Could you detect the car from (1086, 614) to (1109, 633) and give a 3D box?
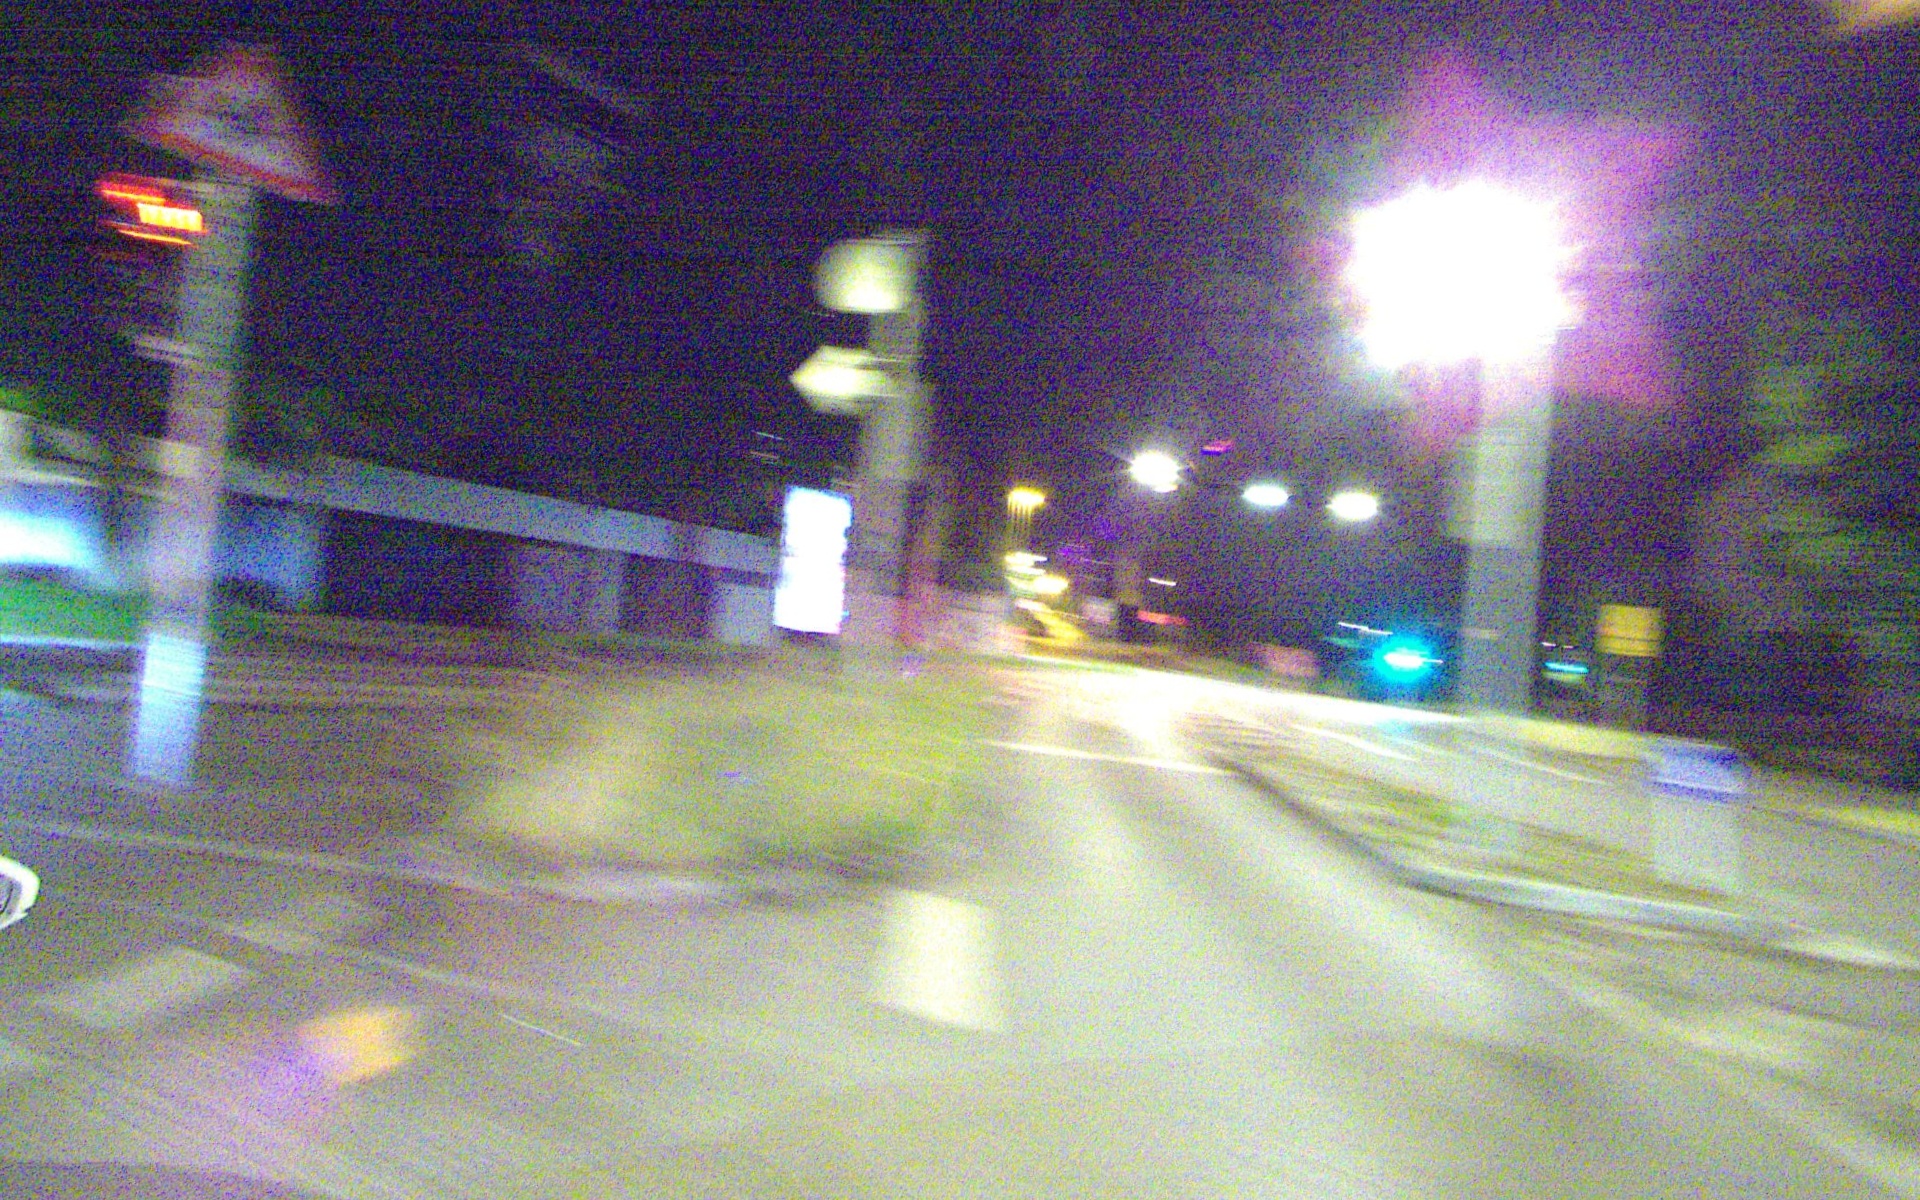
[{"bbox_3d":[15.057,2.584,110.088,1.962,1.791,4.000,7,0,3],"label":"car"}]
